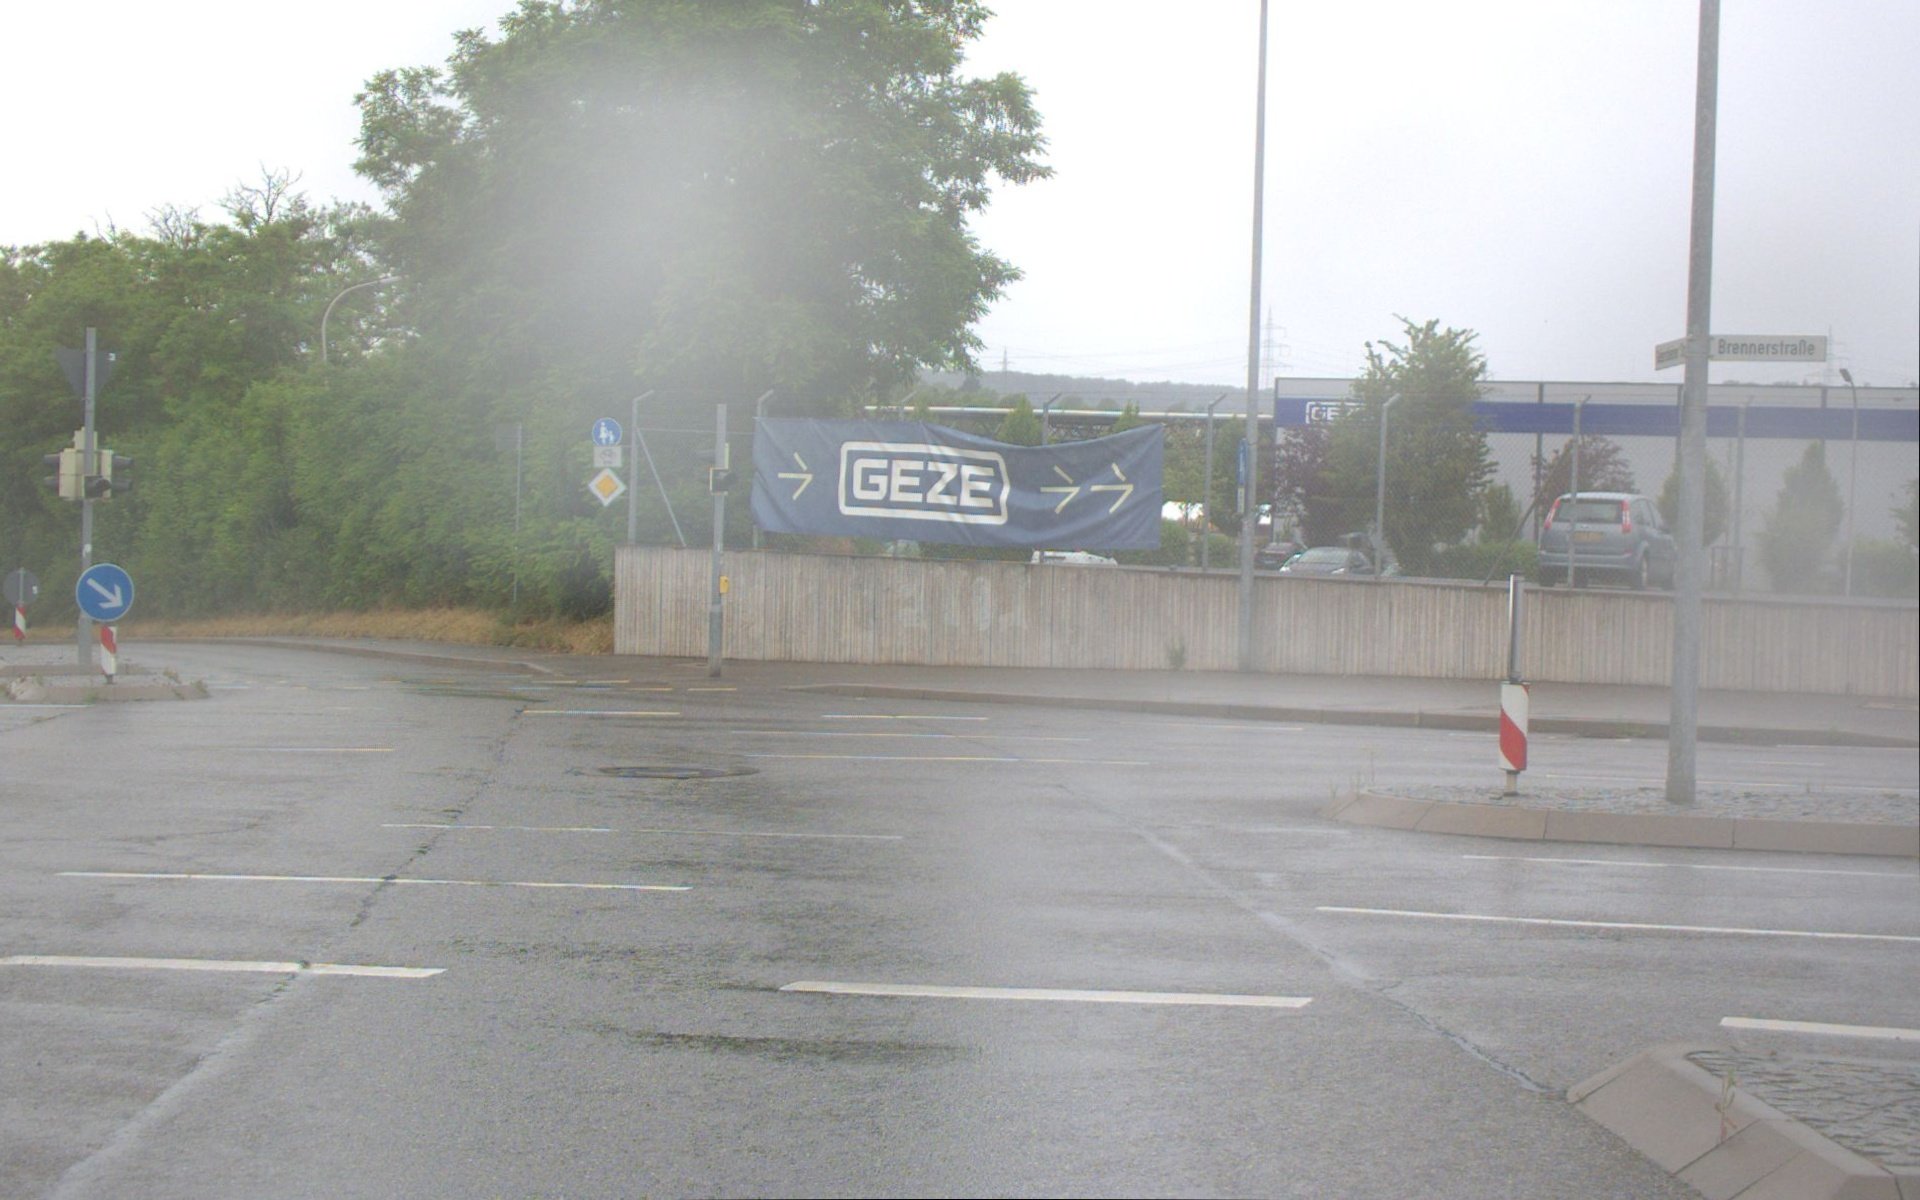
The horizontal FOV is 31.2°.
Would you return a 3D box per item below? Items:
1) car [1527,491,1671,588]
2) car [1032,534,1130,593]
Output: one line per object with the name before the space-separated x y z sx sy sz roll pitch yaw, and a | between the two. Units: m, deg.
car | 10.709 -0.993 57.441 1.744 1.548 3.527 1 1 21
car | 3.389 -1.009 95.907 1.668 1.601 3.527 1 1 21
